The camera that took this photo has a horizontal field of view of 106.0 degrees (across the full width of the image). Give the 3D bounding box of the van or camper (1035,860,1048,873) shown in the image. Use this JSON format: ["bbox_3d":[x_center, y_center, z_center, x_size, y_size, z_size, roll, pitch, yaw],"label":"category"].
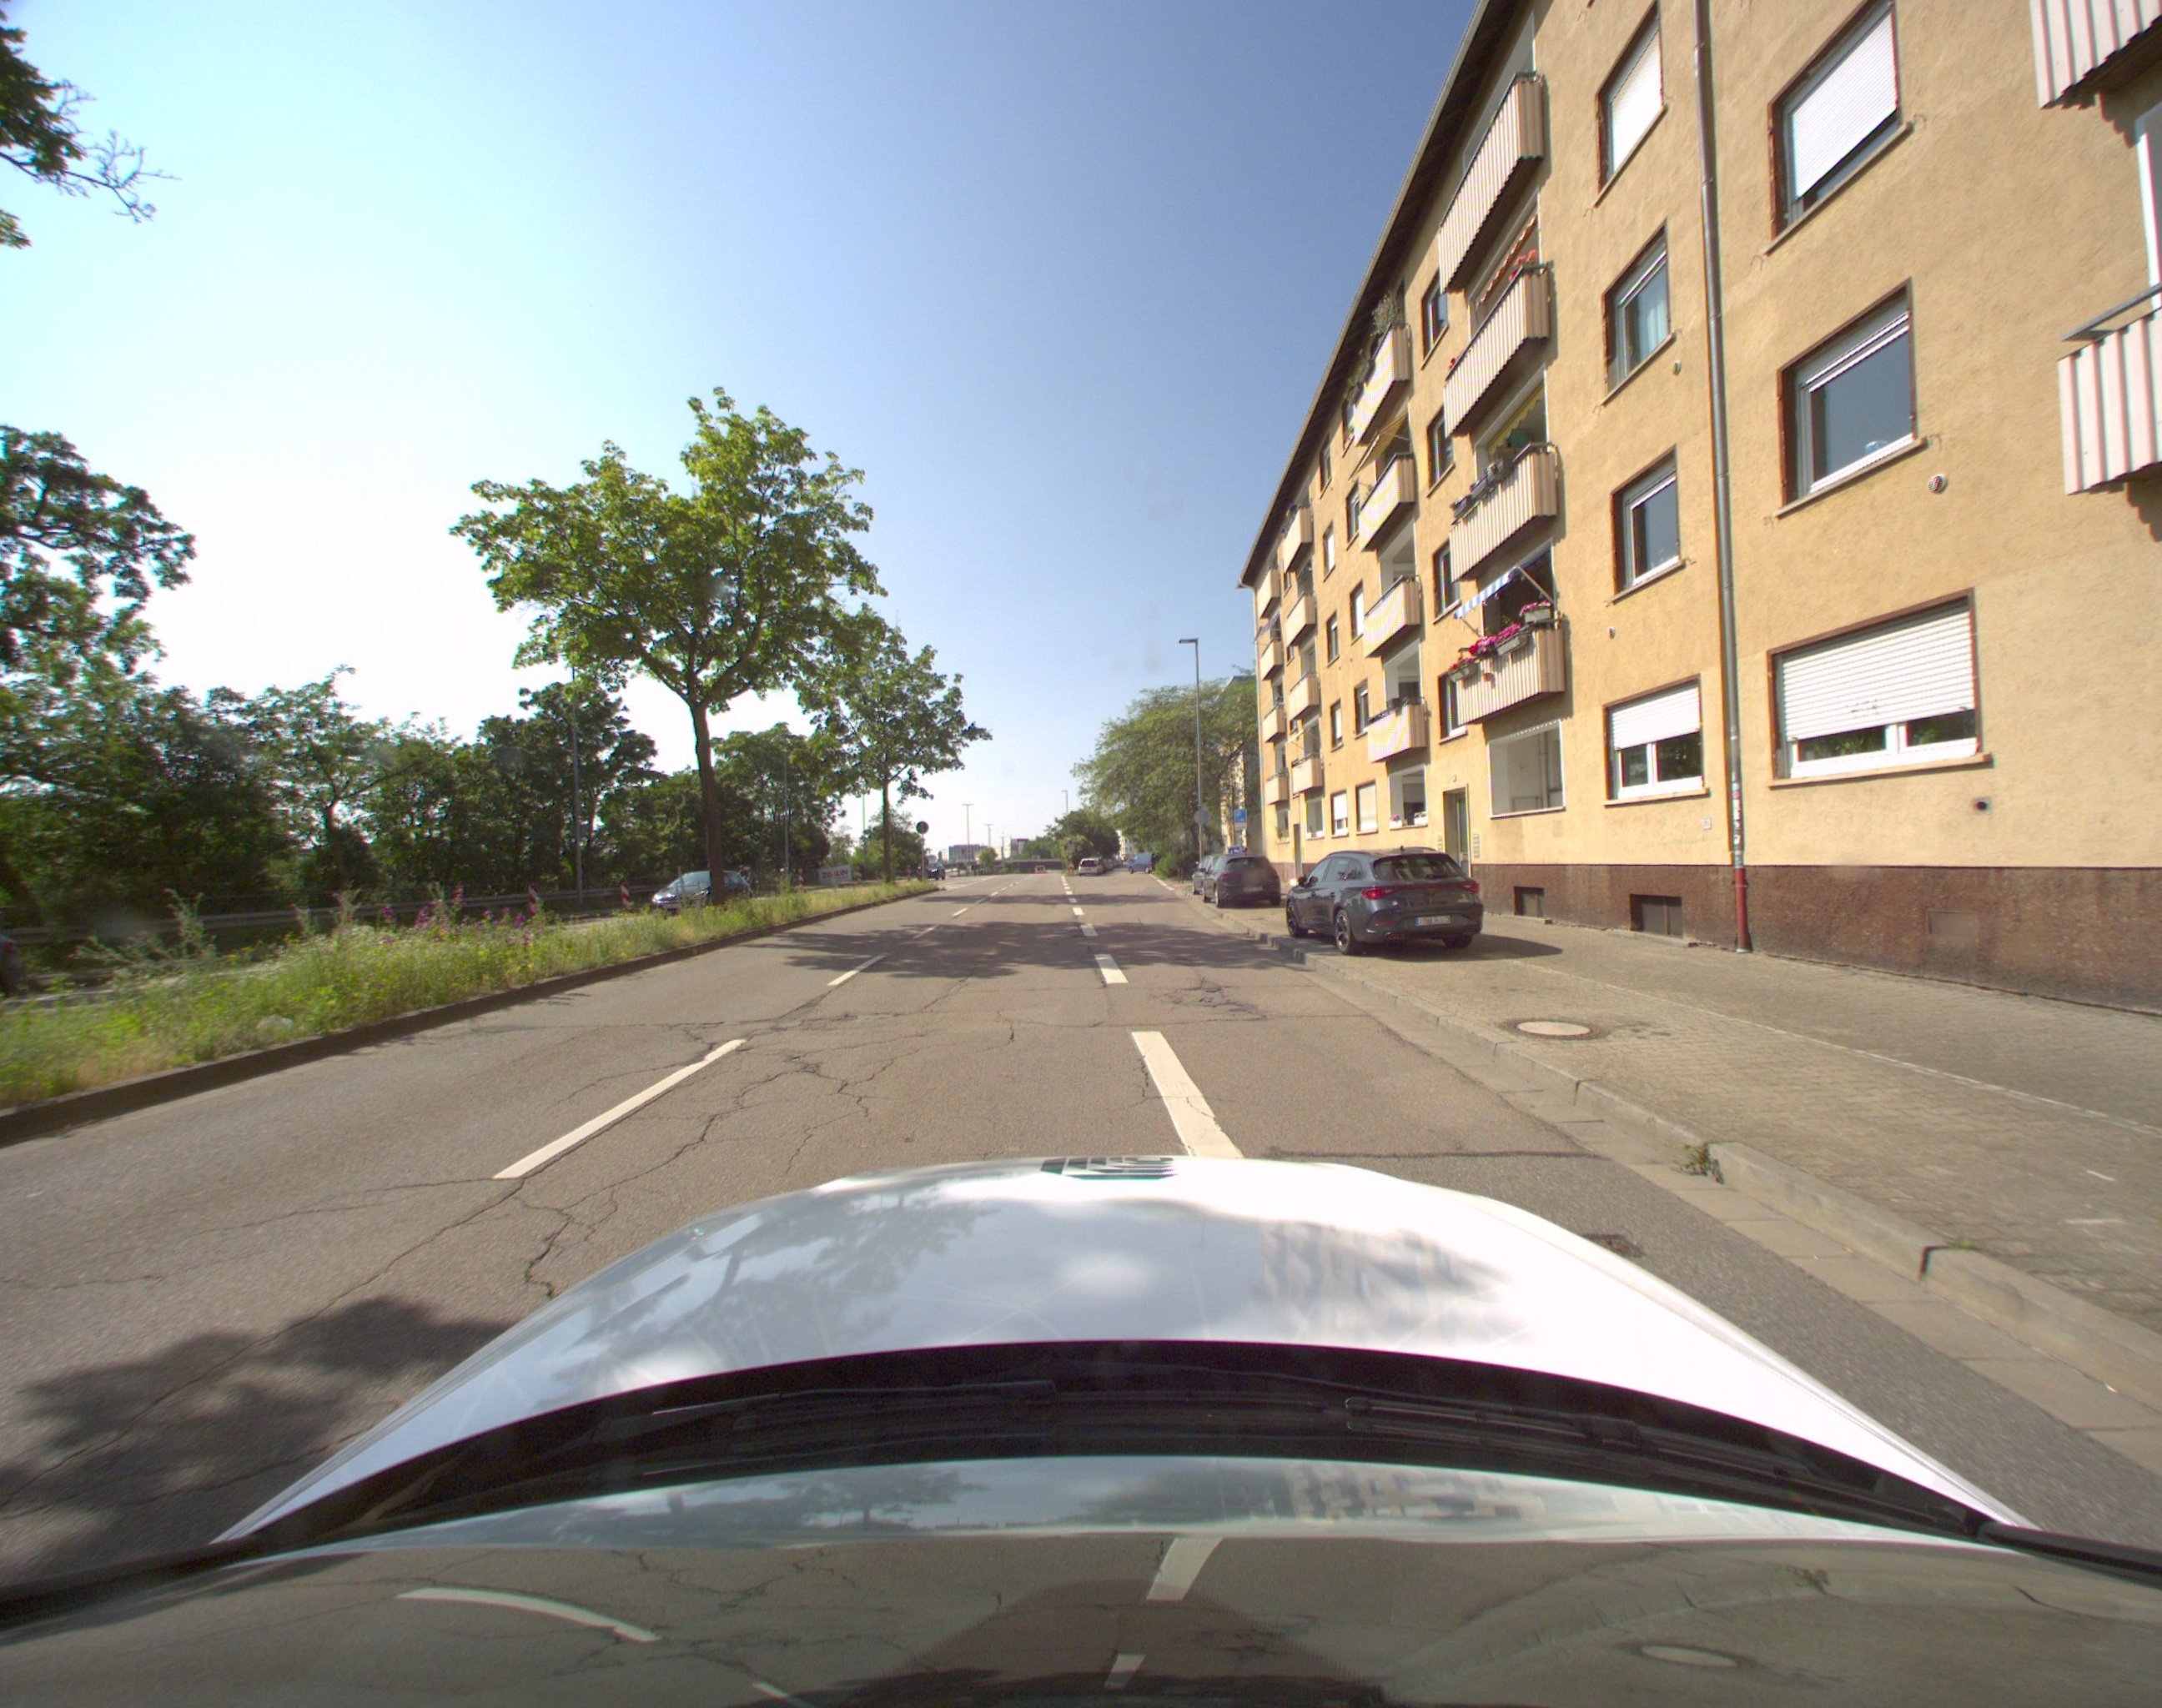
[{"bbox_3d":[-8.456,2.667,175.444,2.287,2.789,5.574,-1,-1,2],"label":"van or camper"}]

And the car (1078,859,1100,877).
[{"bbox_3d":[0.716,1.179,70.131,1.612,1.505,3.465,-2,0,4],"label":"car"}]

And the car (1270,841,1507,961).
[{"bbox_3d":[4.391,0.600,12.502,1.795,1.438,4.587,-2,0,-1],"label":"car"}]

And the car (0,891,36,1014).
[{"bbox_3d":[-14.441,1.247,8.551,1.793,1.530,3.998,-2,-1,-1],"label":"car"}]

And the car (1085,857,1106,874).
[{"bbox_3d":[1.448,1.117,80.218,1.767,1.579,4.182,-2,0,-3],"label":"car"}]

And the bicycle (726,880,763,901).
[{"bbox_3d":[-16.612,1.787,40.268,0.690,0.905,2.344,-2,0,4],"label":"bicycle"}]

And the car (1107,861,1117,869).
[{"bbox_3d":[5.939,2.097,155.044,1.656,1.509,4.012,0,0,4],"label":"car"}]

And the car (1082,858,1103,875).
[{"bbox_3d":[1.095,1.134,74.793,1.714,1.505,4.136,-2,0,4],"label":"car"}]

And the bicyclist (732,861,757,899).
[{"bbox_3d":[-16.623,1.265,40.251,0.693,1.832,1.018,-2,-1,4],"label":"bicyclist"}]

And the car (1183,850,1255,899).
[{"bbox_3d":[4.756,0.675,28.615,1.698,1.514,4.089,-3,0,-1],"label":"car"}]

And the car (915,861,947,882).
[{"bbox_3d":[-13.421,1.548,73.181,1.987,1.734,4.728,-2,-1,-1],"label":"car"}]

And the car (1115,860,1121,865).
[{"bbox_3d":[11.802,2.696,260.676,1.985,1.657,4.002,-2,-1,2],"label":"car"}]

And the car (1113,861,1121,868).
[{"bbox_3d":[9.087,2.752,208.042,1.985,1.657,4.002,-2,-1,2],"label":"car"}]

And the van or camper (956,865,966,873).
[{"bbox_3d":[-23.441,2.929,159.612,1.463,1.350,4.625,-2,-1,-3],"label":"van or camper"}]

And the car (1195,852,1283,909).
[{"bbox_3d":[4.446,0.707,23.563,1.705,1.462,4.255,-2,0,0],"label":"car"}]

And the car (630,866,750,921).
[{"bbox_3d":[-11.986,1.159,25.278,1.758,1.474,4.083,-2,0,0],"label":"car"}]

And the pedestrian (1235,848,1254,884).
[{"bbox_3d":[7.571,0.529,37.681,0.652,1.609,0.825,-4,0,4],"label":"pedestrian"}]

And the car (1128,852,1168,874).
[{"bbox_3d":[6.215,0.828,75.880,1.893,1.921,3.972,1,0,-27],"label":"car"}]
